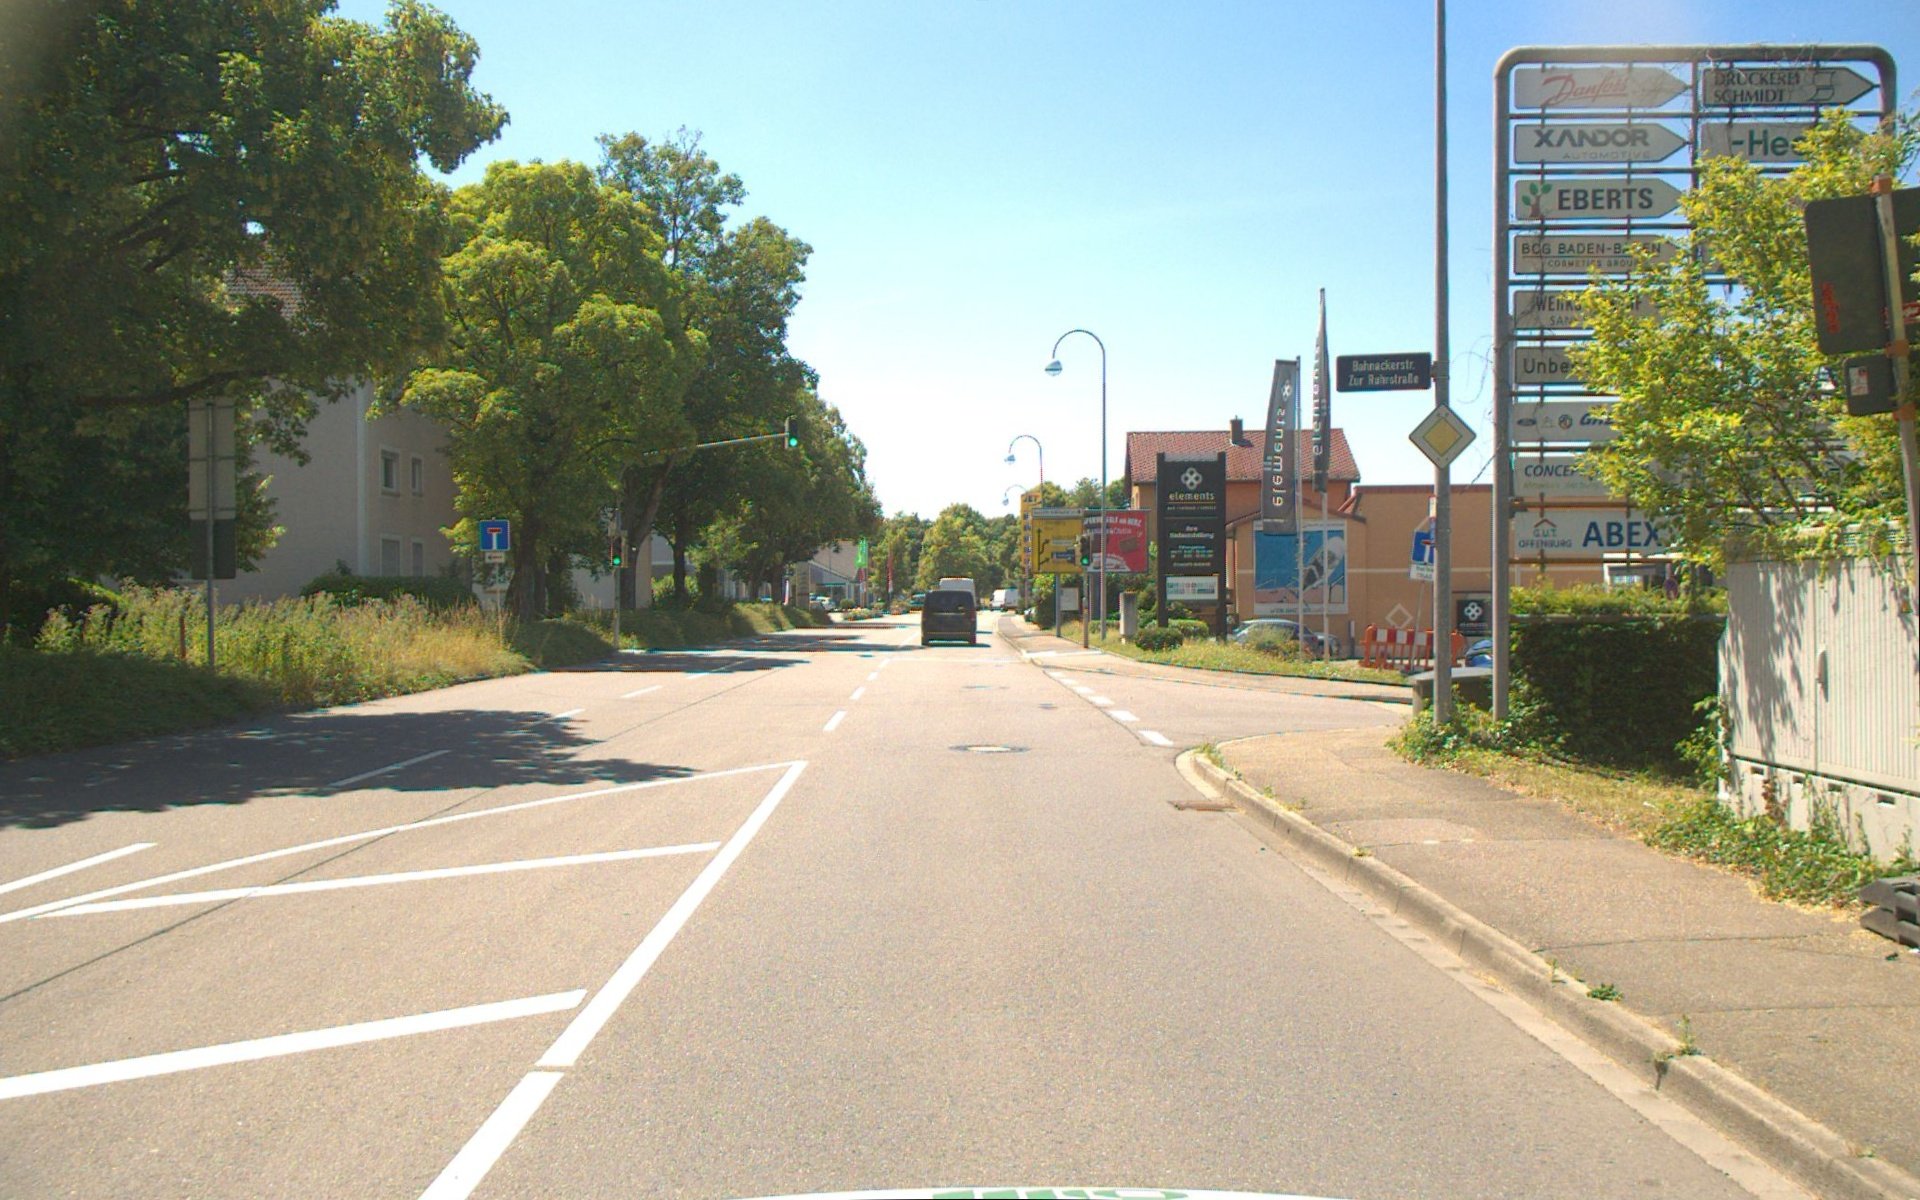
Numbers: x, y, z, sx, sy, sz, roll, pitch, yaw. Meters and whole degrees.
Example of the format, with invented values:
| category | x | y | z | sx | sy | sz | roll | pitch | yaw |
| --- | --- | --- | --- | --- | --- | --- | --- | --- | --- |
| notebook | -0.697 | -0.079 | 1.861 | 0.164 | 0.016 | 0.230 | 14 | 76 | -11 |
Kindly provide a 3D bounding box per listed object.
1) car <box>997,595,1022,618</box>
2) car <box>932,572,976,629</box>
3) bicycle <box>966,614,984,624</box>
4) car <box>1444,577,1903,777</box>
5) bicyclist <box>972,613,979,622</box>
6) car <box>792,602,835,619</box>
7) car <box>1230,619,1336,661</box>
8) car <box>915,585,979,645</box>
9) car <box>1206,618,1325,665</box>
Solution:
| category | x | y | z | sx | sy | sz | roll | pitch | yaw |
| --- | --- | --- | --- | --- | --- | --- | --- | --- | --- |
| car | 5.662 | 0.769 | 190.974 | 2.307 | 2.591 | 4.951 | 1 | 0 | -5 |
| car | -0.274 | 0.002 | 82.293 | 2.076 | 2.724 | 5.662 | 1 | 1 | 0 |
| bicycle | 1.446 | 1.882 | 162.342 | 1.682 | 0.902 | 0.557 | -1 | 2 | -6 |
| car | 7.258 | 0.775 | 17.236 | 3.983 | 1.540 | 1.857 | 6 | -1 | 11 |
| bicyclist | 1.526 | 1.739 | 162.380 | 0.462 | 0.868 | 0.554 | -1 | 2 | -23 |
| car | -14.878 | 1.038 | 168.116 | 3.902 | 1.691 | 2.002 | 1 | 0 | 10 |
| car | 13.268 | 1.638 | 68.084 | 4.169 | 1.627 | 1.891 | 0 | 0 | 7 |
| car | -0.472 | 0.471 | 55.648 | 1.954 | 1.926 | 3.997 | 1 | 1 | -3 |
| car | 11.485 | 1.550 | 62.444 | 4.183 | 1.675 | 1.890 | 1 | 0 | 2 |
